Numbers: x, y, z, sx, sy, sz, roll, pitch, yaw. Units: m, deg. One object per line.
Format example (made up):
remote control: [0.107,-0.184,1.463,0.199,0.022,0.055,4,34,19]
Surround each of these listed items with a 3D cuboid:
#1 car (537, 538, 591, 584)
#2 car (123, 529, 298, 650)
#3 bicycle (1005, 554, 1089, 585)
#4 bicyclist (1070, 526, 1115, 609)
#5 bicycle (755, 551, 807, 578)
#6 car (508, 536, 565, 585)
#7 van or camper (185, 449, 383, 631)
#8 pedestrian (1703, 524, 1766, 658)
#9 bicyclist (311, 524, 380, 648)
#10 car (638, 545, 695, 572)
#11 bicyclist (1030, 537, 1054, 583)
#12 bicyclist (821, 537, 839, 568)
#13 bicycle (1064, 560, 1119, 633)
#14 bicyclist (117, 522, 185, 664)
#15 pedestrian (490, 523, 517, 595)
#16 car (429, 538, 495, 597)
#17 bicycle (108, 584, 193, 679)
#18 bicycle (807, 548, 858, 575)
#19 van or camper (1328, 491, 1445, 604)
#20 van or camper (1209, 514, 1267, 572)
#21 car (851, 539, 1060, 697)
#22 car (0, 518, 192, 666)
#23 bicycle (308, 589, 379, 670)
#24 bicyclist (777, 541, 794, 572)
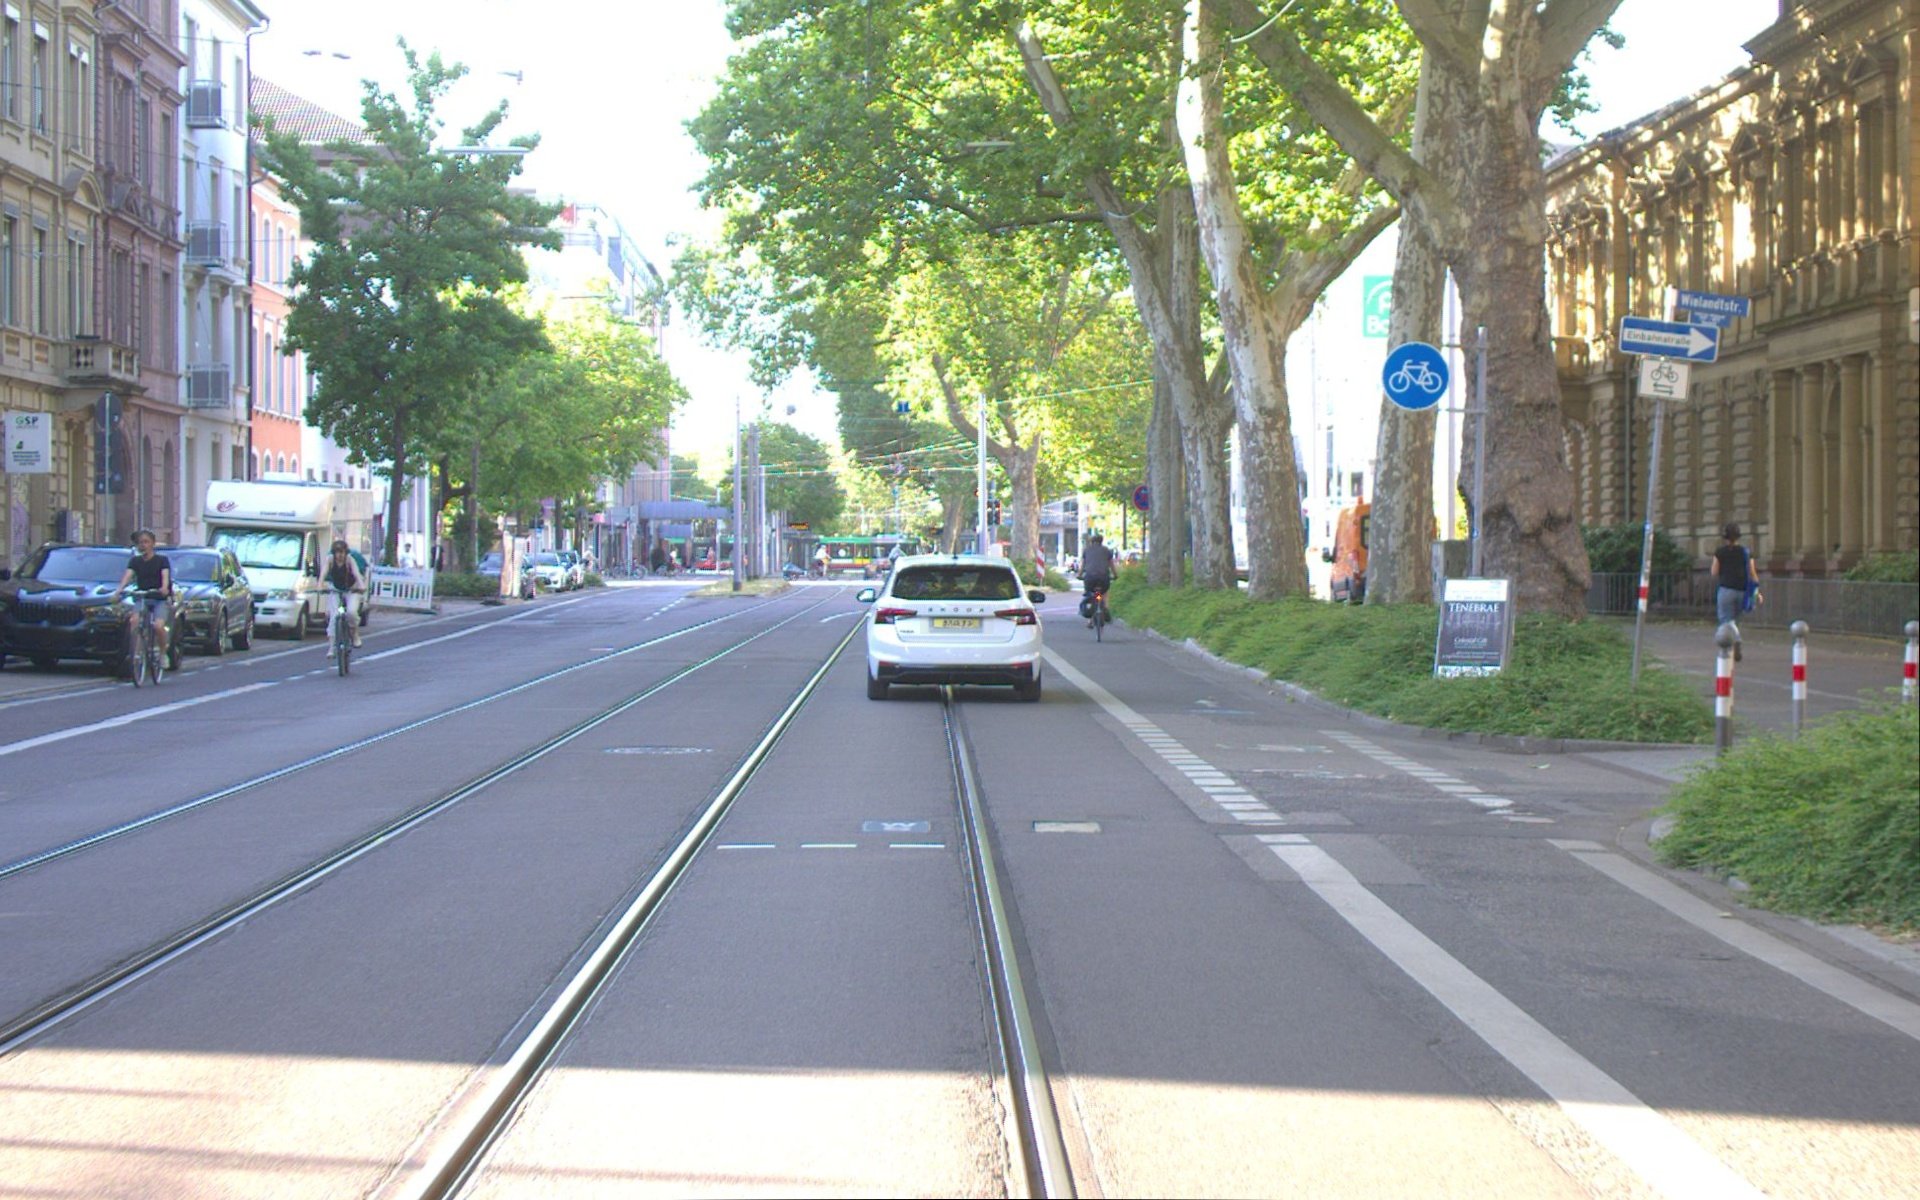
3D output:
car: [-15.315,-1.536,133.086,1.793,1.720,3.785,1,1,-3]
car: [-11.691,-0.193,53.899,1.964,1.775,4.471,1,1,-3]
bicycle: [2.973,-1.047,117.248,2.771,0.996,0.592,2,1,13]
bicyclist: [2.161,-0.527,56.099,0.679,1.334,0.525,1,1,-2]
bicycle: [-8.976,-1.802,172.101,2.680,1.323,0.615,-1,1,-36]
car: [-15.522,-1.450,126.206,1.793,1.720,3.785,1,1,-3]
van or camper: [-12.418,-1.107,63.636,2.216,3.129,7.114,1,1,0]
pedestrian: [9.631,-0.113,42.760,0.648,1.627,0.871,2,1,18]
bicyclist: [-7.593,-0.177,42.503,0.638,1.498,1.070,-1,1,0]
car: [-21.134,-3.001,247.707,3.794,1.812,1.803,2,1,5]
bicyclist: [2.791,-1.364,117.304,0.737,1.583,0.586,0,1,11]
bicyclist: [-6.568,-2.408,173.692,0.631,1.517,0.610,-1,2,-36]
bicycle: [2.145,-0.076,56.317,0.680,1.151,2.964,1,1,-2]
bicyclist: [-9.526,-0.086,40.493,0.535,1.629,0.896,-2,1,0]
pedestrian: [-12.750,-1.137,96.000,0.601,1.996,0.749,1,1,3]
car: [-15.124,-1.011,104.553,1.641,1.720,3.785,1,1,-3]
bicycle: [-9.523,0.358,40.498,0.484,1.044,2.039,-2,1,0]
bicycle: [-6.439,-1.945,173.767,2.680,1.323,0.615,-1,1,-36]
van or camper: [9.710,-1.191,78.661,2.027,2.455,5.108,1,1,0]
van or camper: [11.653,-2.390,144.358,1.993,2.335,4.000,1,1,-1]
car: [-0.106,0.146,34.735,1.842,1.475,3.839,1,1,-4]
car: [-11.660,-0.145,45.762,1.964,1.775,4.938,3,1,-3]
bicycle: [-7.609,0.349,42.498,0.499,0.940,1.921,-2,1,0]
bicyclist: [-8.747,-2.187,172.299,0.631,1.517,0.610,-1,2,-36]
